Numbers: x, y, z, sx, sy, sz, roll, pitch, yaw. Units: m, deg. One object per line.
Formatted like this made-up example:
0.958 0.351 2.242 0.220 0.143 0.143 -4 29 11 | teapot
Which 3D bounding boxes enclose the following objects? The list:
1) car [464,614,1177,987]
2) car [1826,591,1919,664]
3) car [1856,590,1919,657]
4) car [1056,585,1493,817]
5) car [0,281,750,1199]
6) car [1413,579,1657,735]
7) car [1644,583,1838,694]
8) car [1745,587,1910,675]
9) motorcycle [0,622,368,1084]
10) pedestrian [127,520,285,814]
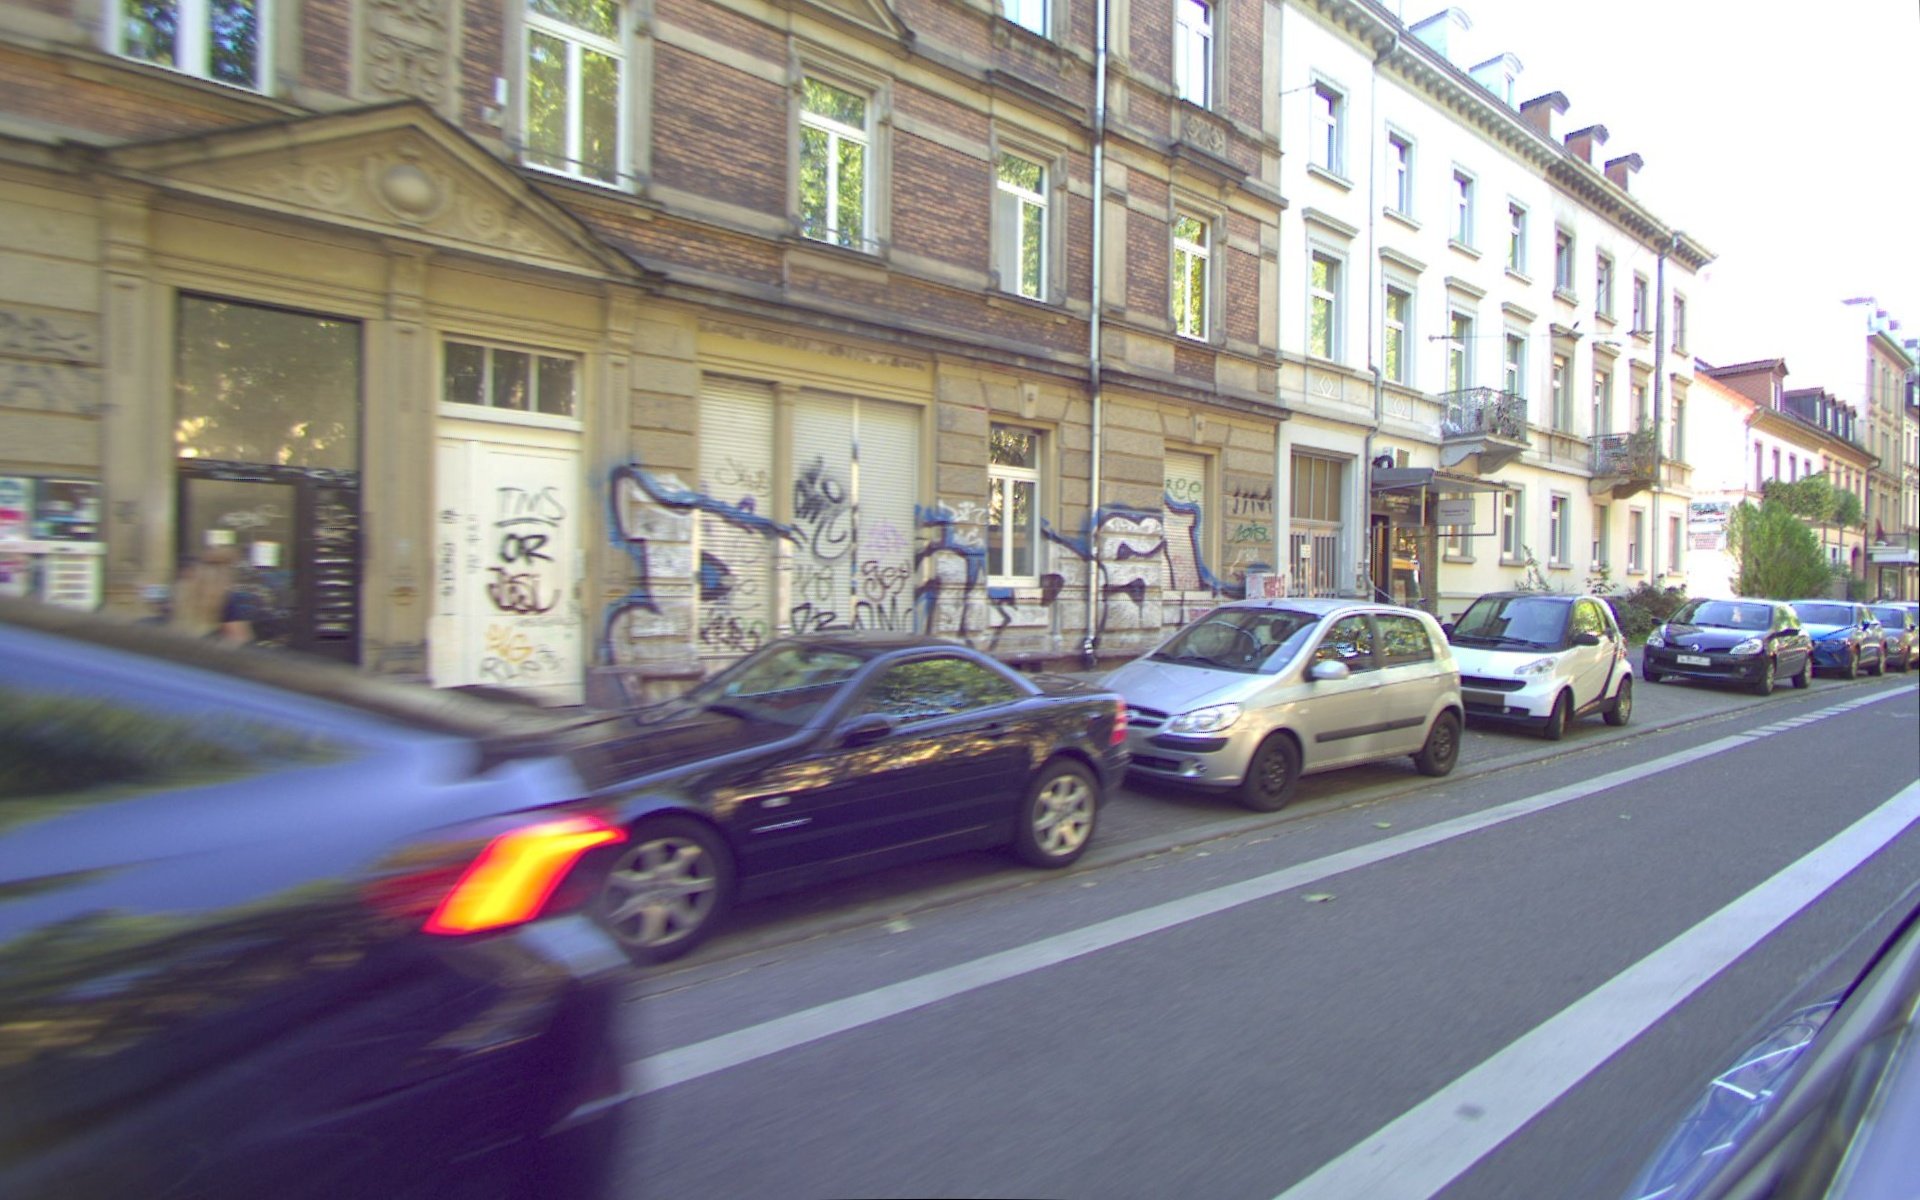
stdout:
-0.617 0.802 5.715 3.657 1.288 1.653 0 3 -39 | car
21.742 0.585 23.684 3.297 1.524 1.543 0 2 -37 | car
24.750 0.578 26.117 3.618 1.588 1.730 0 2 -37 | car
2.719 0.651 8.441 3.672 1.470 1.611 0 3 -37 | car
-2.665 0.571 0.727 4.545 1.725 1.949 0 1 -38 | car
6.766 0.571 11.852 2.769 1.561 1.514 0 3 -38 | car
13.070 0.547 16.870 3.837 1.523 1.636 0 5 -39 | car
17.871 0.570 20.809 3.835 1.523 1.731 0 5 -37 | car
-3.147 0.768 3.818 2.123 1.305 0.636 1 0 31 | motorcycle
-4.677 0.374 6.283 0.752 1.677 0.716 0 0 -39 | pedestrian
